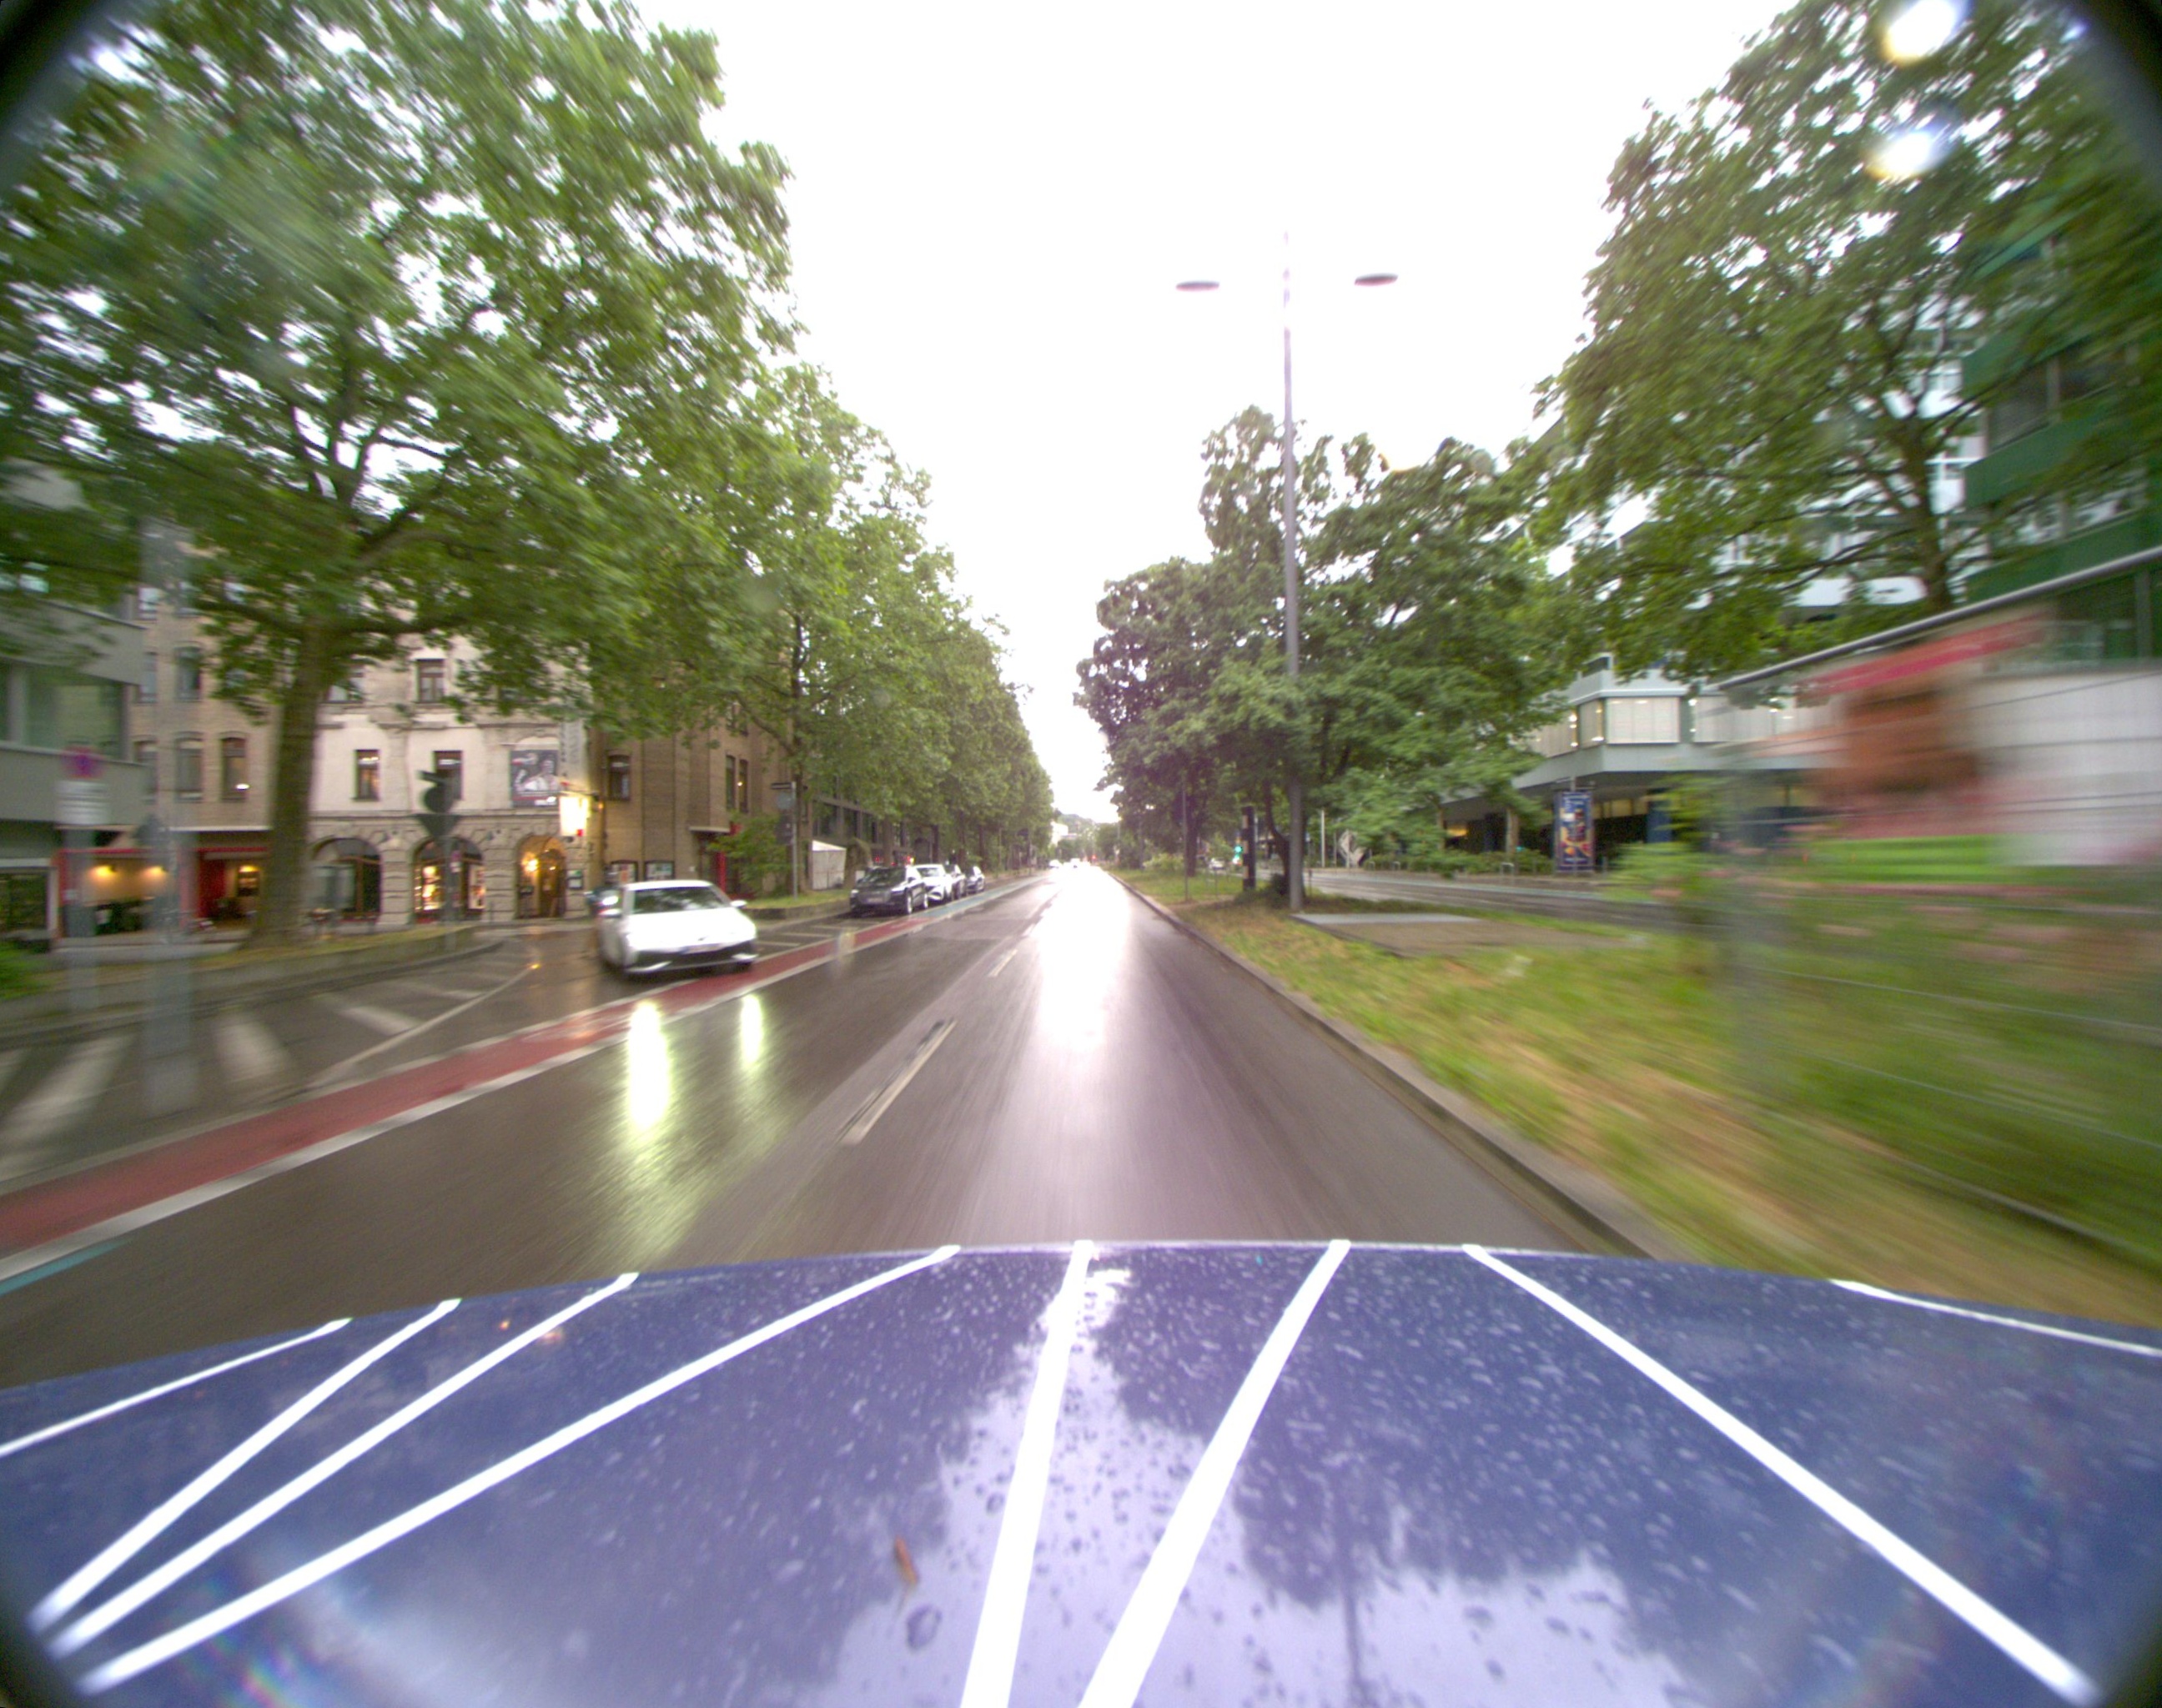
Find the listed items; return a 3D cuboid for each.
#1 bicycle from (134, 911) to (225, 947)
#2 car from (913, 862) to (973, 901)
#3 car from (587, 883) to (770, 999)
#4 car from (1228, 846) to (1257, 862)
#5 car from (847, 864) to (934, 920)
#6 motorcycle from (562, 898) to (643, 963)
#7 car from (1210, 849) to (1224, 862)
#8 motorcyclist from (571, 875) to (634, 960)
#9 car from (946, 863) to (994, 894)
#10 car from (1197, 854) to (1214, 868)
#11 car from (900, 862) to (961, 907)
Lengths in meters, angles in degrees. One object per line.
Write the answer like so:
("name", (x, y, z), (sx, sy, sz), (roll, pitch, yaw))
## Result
("bicycle", (-25.946, 2.152, 21.882), (1.971, 0.932, 0.625), (-2, 0, 5))
("car", (-6.377, 1.239, 35.604), (1.999, 1.580, 4.560), (-2, 0, -1))
("car", (-6.772, 1.255, 12.514), (1.871, 1.436, 4.497), (-2, 0, -38))
("car", (15.361, 0.012, 72.410), (1.998, 1.483, 4.757), (0, 0, 3))
("car", (-6.325, 1.198, 25.776), (1.797, 1.593, 4.423), (-3, 0, 0))
("motorcycle", (-9.870, 1.539, 15.762), (0.869, 1.136, 2.019), (-2, 0, -17))
("car", (15.676, 0.226, 87.576), (1.163, 1.454, 3.561), (-1, 0, 3))
("motorcyclist", (-9.844, 1.283, 15.672), (0.850, 1.635, 0.870), (-2, 0, -17))
("car", (-5.979, 1.291, 41.388), (1.747, 1.424, 4.586), (-2, 0, 1))
("car", (17.654, 0.987, 107.942), (1.998, 1.791, 4.283), (-1, 0, 5))
("car", (-6.003, 1.178, 30.752), (1.756, 1.576, 4.409), (-2, 0, -3))
